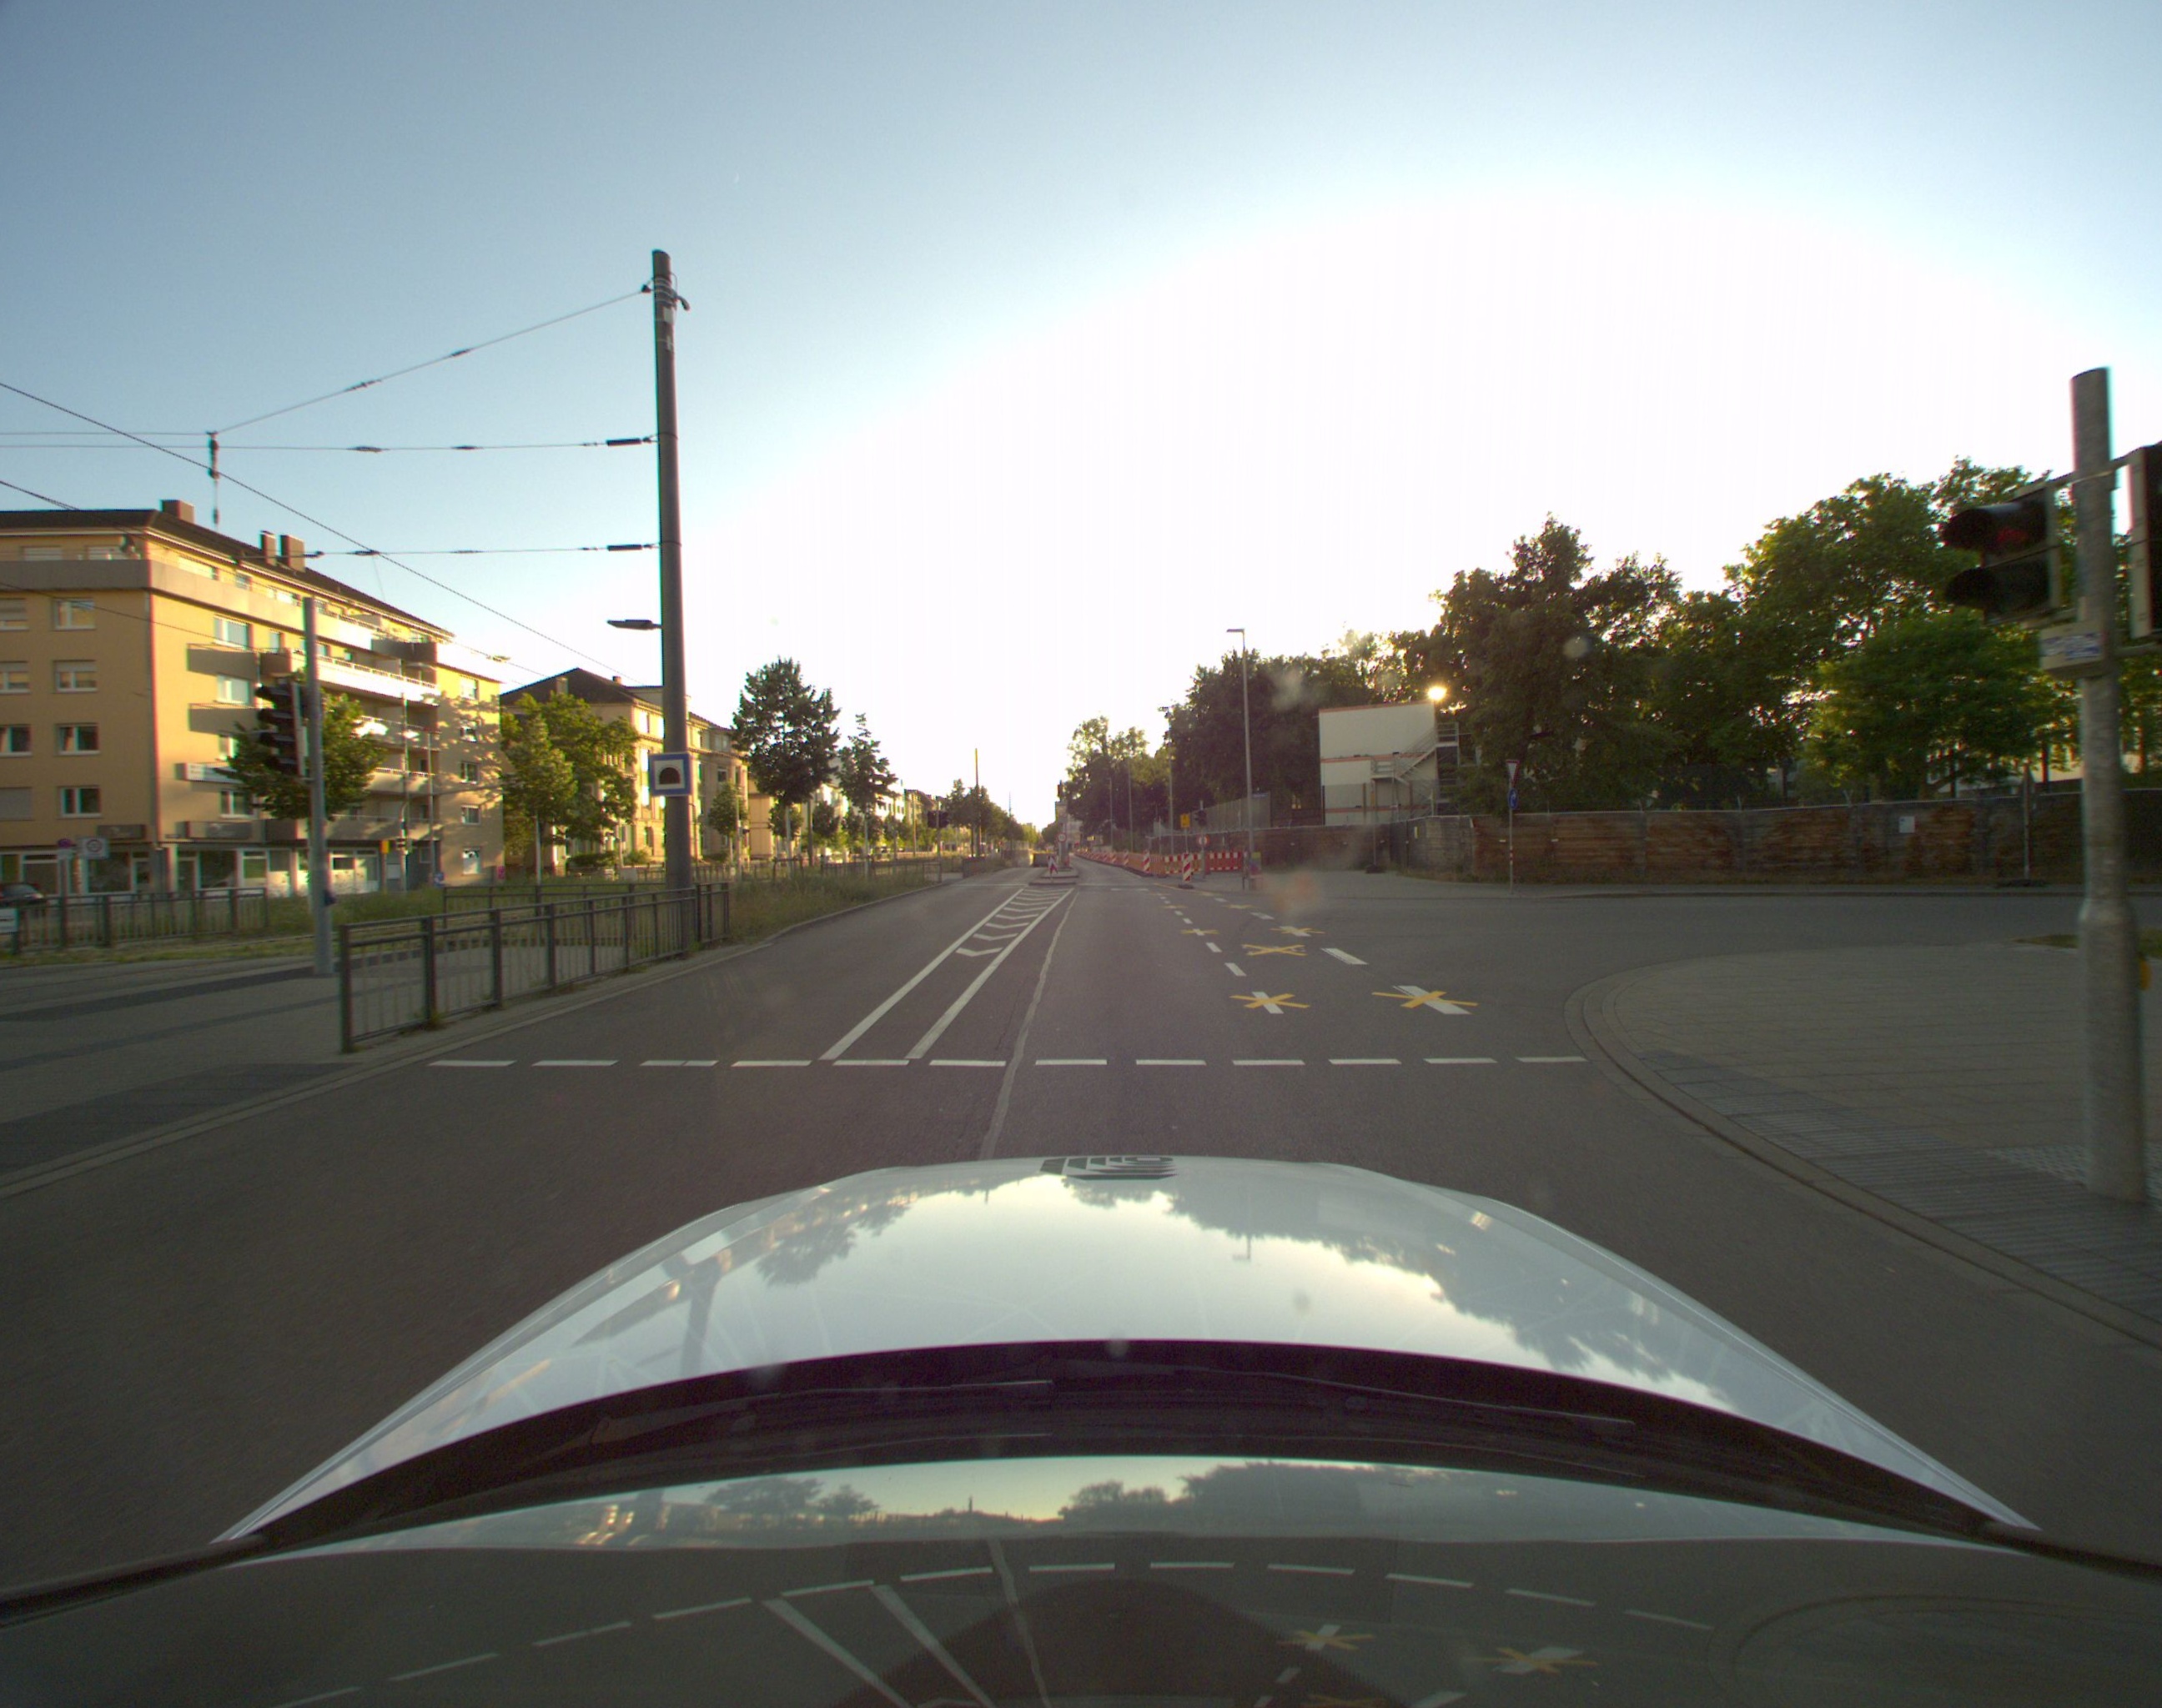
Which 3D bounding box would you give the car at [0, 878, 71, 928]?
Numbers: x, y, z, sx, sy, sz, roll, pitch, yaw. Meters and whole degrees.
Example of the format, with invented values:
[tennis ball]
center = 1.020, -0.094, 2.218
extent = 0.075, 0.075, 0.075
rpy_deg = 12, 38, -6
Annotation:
[car]
center = -43.810, 1.974, 32.562
extent = 3.924, 1.845, 2.190
rpy_deg = -1, 0, -2
